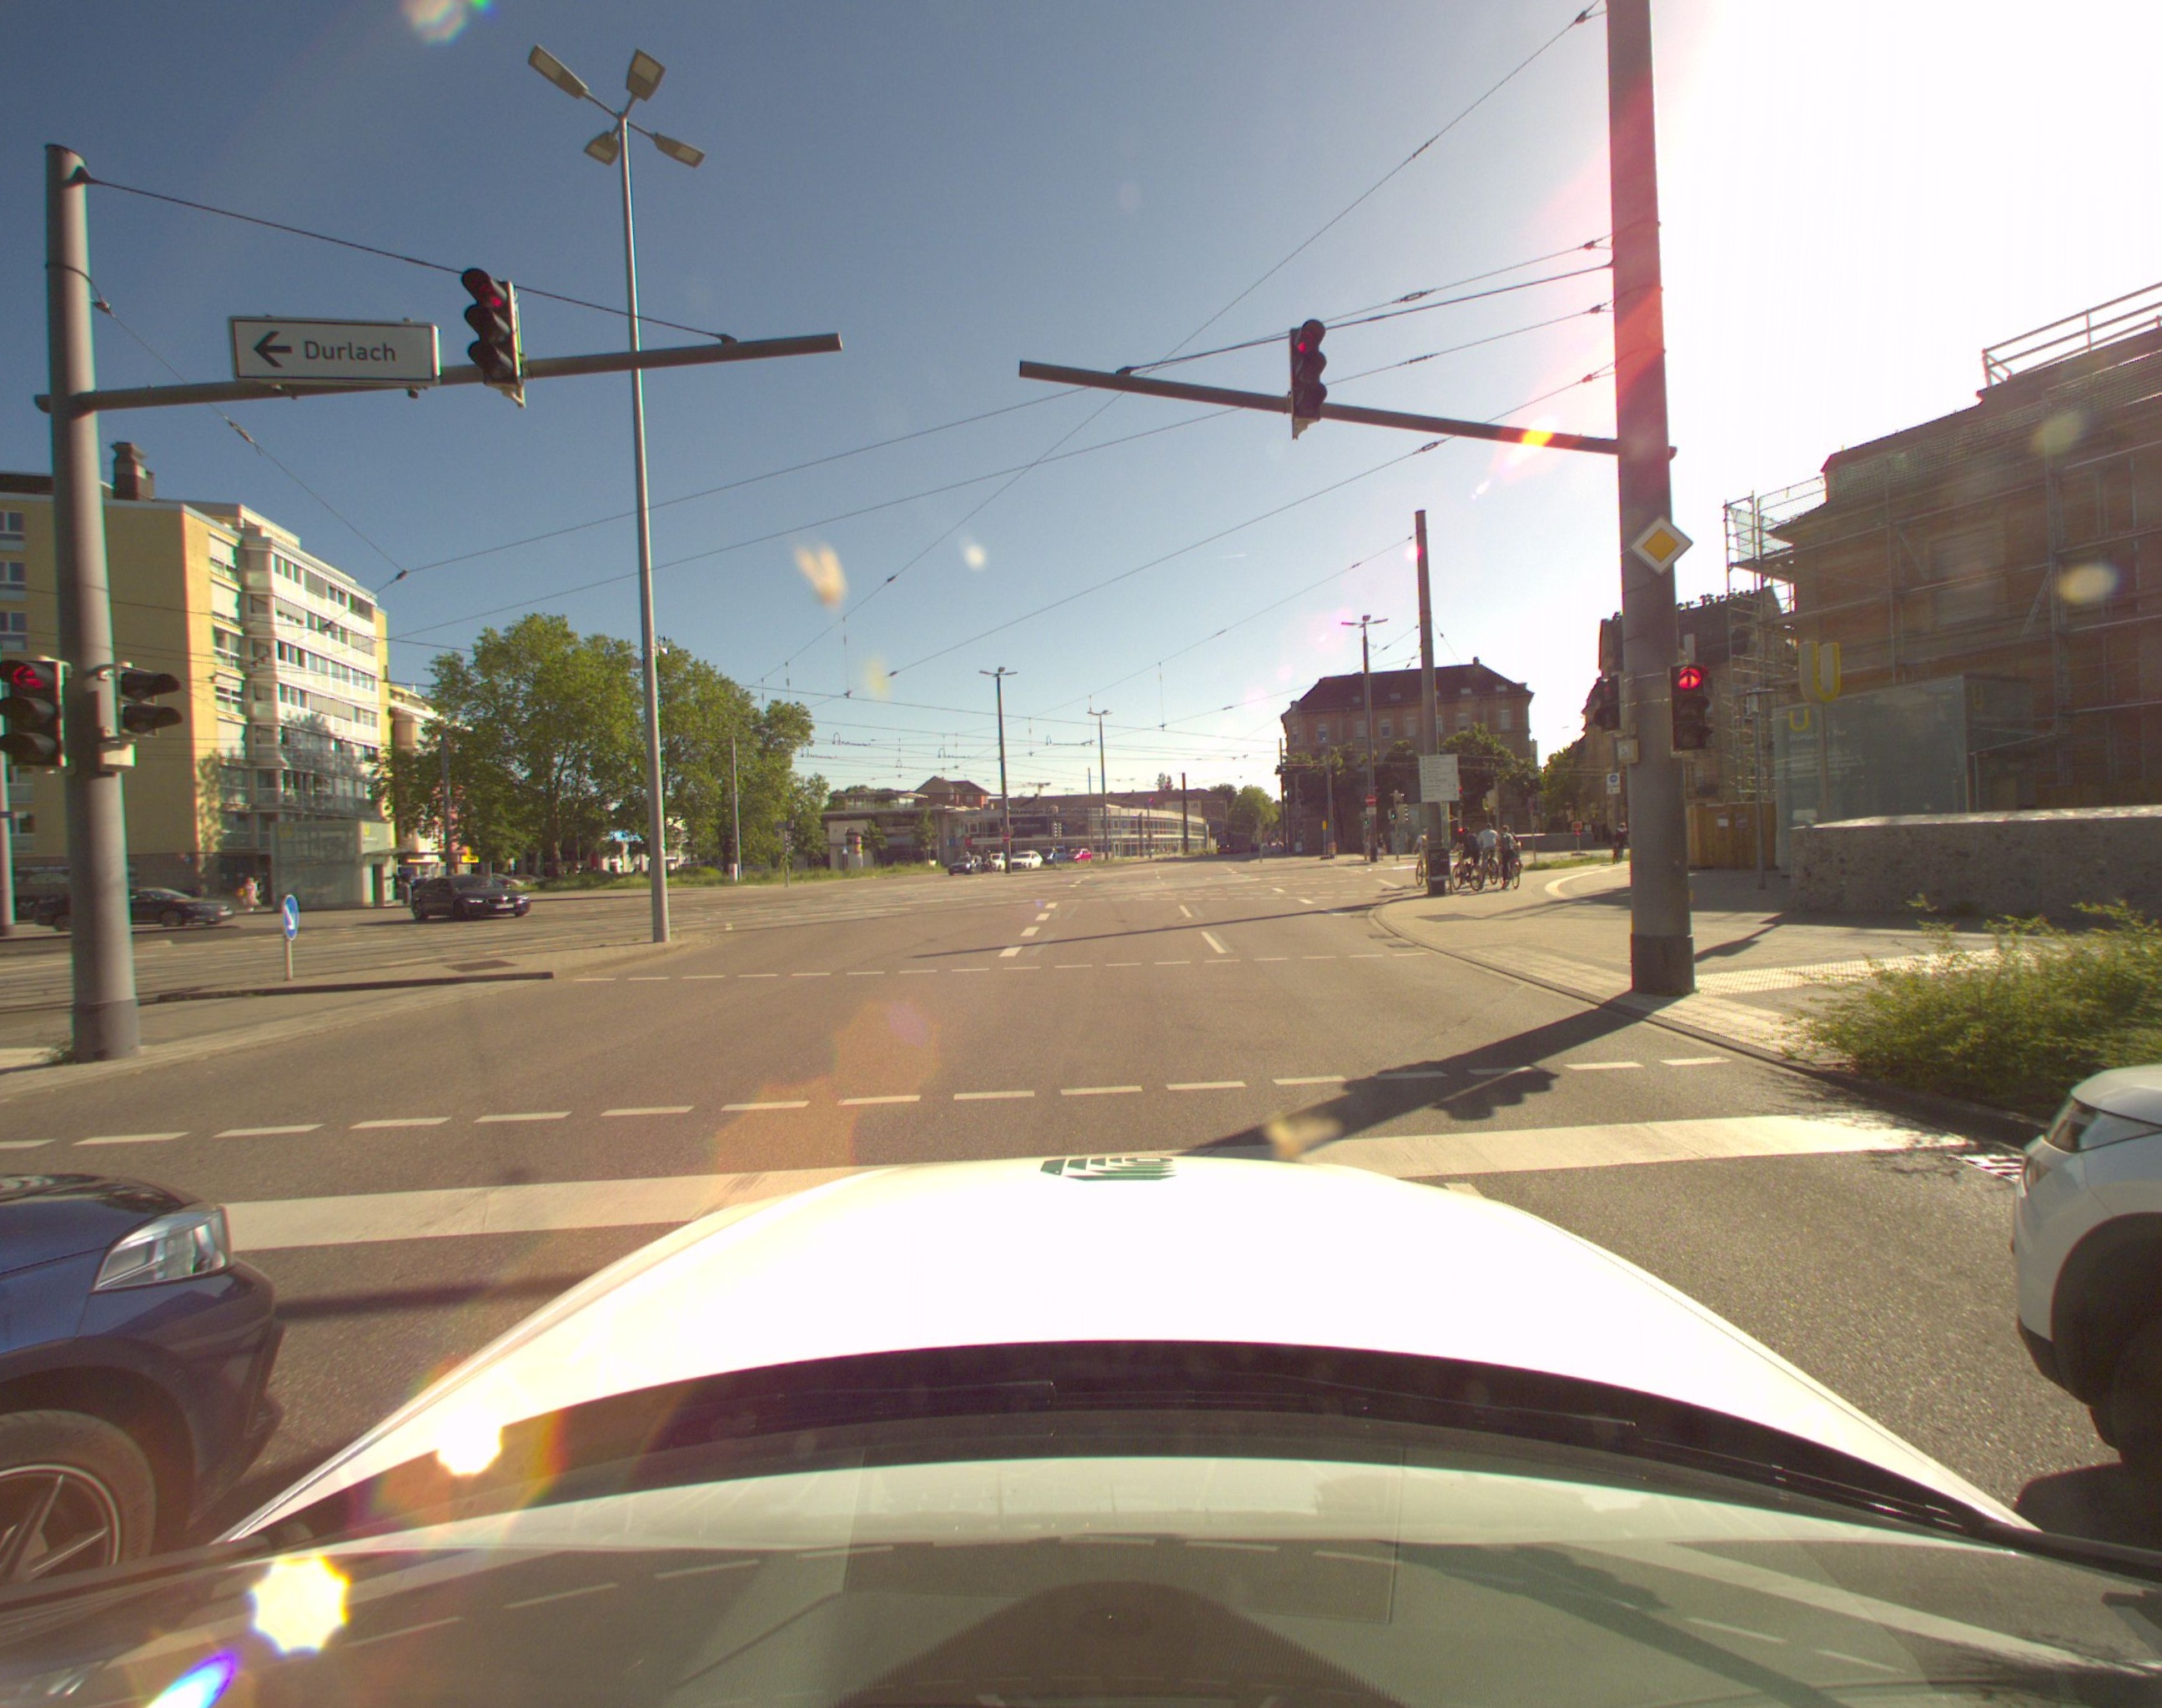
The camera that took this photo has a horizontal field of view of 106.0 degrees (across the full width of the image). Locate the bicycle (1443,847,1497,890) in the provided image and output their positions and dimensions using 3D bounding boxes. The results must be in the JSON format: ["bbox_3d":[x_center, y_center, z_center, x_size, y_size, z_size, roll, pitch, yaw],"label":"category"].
[{"bbox_3d":[10.856,0.396,22.786,0.623,1.114,1.852,-5,0,3],"label":"bicycle"}]

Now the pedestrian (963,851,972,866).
[{"bbox_3d":[-9.640,0.383,69.043,0.419,1.204,0.684,-2,0,20],"label":"pedestrian"}]

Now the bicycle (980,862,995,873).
[{"bbox_3d":[-6.942,1.011,60.534,0.419,0.718,1.642,-2,0,19],"label":"bicycle"}]

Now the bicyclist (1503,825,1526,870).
[{"bbox_3d":[15.634,-0.245,29.397,0.566,1.568,0.952,-2,0,21],"label":"bicyclist"}]

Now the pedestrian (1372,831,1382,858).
[{"bbox_3d":[21.633,-0.689,59.582,0.461,2.013,0.449,-3,0,-16],"label":"pedestrian"}]

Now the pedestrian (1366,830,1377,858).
[{"bbox_3d":[21.320,-0.715,59.772,0.574,2.013,0.449,-3,0,-16],"label":"pedestrian"}]

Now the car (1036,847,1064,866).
[{"bbox_3d":[-2.991,0.235,79.210,1.613,1.692,3.702,-2,0,17],"label":"car"}]

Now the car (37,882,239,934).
[{"bbox_3d":[-32.207,1.810,27.986,4.177,1.438,1.716,-2,0,-20],"label":"car"}]

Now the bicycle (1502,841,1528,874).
[{"bbox_3d":[15.619,0.097,29.335,0.566,1.125,1.749,-2,0,21],"label":"bicycle"}]

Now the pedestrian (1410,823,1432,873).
[{"bbox_3d":[10.985,-0.190,26.337,0.544,1.562,0.862,-2,0,19],"label":"pedestrian"}]

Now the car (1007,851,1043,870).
[{"bbox_3d":[-4.472,0.510,65.217,1.613,1.382,3.754,-2,0,17],"label":"car"}]

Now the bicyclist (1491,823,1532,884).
[{"bbox_3d":[11.739,-0.023,22.237,0.680,1.598,0.981,-4,0,13],"label":"bicyclist"}]

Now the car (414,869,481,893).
[{"bbox_3d":[-49.928,2.089,64.260,3.742,1.662,1.585,-2,0,-18],"label":"car"}]

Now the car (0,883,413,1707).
[{"bbox_3d":[-2.676,0.809,0.122,1.704,1.445,4.034,-1,0,2],"label":"car"}]

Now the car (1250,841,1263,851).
[{"bbox_3d":[28.172,-1.233,130.809,1.686,1.503,4.284,-2,0,17],"label":"car"}]

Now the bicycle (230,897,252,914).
[{"bbox_3d":[-43.984,2.678,42.649,0.489,0.812,1.595,-2,0,-35],"label":"bicycle"}]

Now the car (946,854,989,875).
[{"bbox_3d":[-8.498,0.777,61.237,1.689,1.354,3.719,-2,0,19],"label":"car"}]

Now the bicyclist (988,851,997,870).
[{"bbox_3d":[-7.799,0.571,71.847,0.564,1.713,0.651,-2,0,13],"label":"bicyclist"}]

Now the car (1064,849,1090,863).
[{"bbox_3d":[-0.439,0.242,86.281,1.613,1.364,3.703,-2,0,18],"label":"car"}]

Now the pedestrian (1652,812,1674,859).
[{"bbox_3d":[24.138,-0.766,33.789,0.692,1.881,0.725,-2,0,35],"label":"pedestrian"}]

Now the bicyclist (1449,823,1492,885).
[{"bbox_3d":[10.812,-0.001,22.632,0.623,1.637,0.995,-5,-1,3],"label":"bicyclist"}]

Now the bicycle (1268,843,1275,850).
[{"bbox_3d":[26.203,-1.059,112.130,0.737,0.870,1.941,-2,0,20],"label":"bicycle"}]

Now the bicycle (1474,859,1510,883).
[{"bbox_3d":[12.548,0.522,24.873,0.534,0.655,1.471,-3,0,9],"label":"bicycle"}]

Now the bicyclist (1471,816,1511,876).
[{"bbox_3d":[12.506,-0.246,24.866,0.742,1.778,0.926,-3,0,9],"label":"bicyclist"}]

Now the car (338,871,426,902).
[{"bbox_3d":[-42.966,1.995,50.131,3.742,1.662,1.585,-2,0,-18],"label":"car"}]

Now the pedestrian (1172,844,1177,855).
[{"bbox_3d":[15.024,-0.717,131.058,0.537,1.688,0.634,-2,0,22],"label":"pedestrian"}]

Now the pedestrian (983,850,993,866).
[{"bbox_3d":[-6.918,0.284,60.718,0.419,1.204,0.753,-2,0,19],"label":"pedestrian"}]

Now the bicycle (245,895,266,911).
[{"bbox_3d":[-44.968,2.644,44.367,0.462,0.780,1.789,-2,0,-35],"label":"bicycle"}]

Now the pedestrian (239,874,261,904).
[{"bbox_3d":[-43.830,1.841,42.959,0.719,1.560,0.551,-2,0,-40],"label":"pedestrian"}]

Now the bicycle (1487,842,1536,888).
[{"bbox_3d":[11.772,0.283,22.342,0.680,1.163,1.890,-4,0,13],"label":"bicycle"}]

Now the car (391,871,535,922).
[{"bbox_3d":[-20.292,1.393,26.713,4.511,1.501,1.876,-2,0,26],"label":"car"}]

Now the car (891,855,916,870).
[{"bbox_3d":[-21.869,1.069,100.588,1.958,1.706,4.085,-2,0,2],"label":"car"}]

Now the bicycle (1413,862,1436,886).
[{"bbox_3d":[11.151,0.646,26.484,0.532,0.655,1.734,-4,0,19],"label":"bicycle"}]

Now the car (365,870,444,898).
[{"bbox_3d":[-45.840,2.032,55.242,3.742,1.662,1.585,-2,0,-18],"label":"car"}]

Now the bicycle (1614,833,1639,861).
[{"bbox_3d":[22.206,-0.308,33.116,0.511,1.044,1.779,-4,0,43],"label":"bicycle"}]

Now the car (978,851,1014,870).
[{"bbox_3d":[-6.978,0.557,67.160,1.613,1.424,3.702,-2,0,17],"label":"car"}]

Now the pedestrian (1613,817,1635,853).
[{"bbox_3d":[22.110,-0.774,33.140,0.511,1.402,0.967,-4,0,43],"label":"pedestrian"}]

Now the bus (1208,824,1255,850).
[{"bbox_3d":[24.499,-2.490,130.762,3.805,3.607,24.986,-1,0,19],"label":"bus"}]

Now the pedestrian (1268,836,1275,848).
[{"bbox_3d":[26.303,-1.695,112.585,0.796,1.632,0.722,-2,0,20],"label":"pedestrian"}]
